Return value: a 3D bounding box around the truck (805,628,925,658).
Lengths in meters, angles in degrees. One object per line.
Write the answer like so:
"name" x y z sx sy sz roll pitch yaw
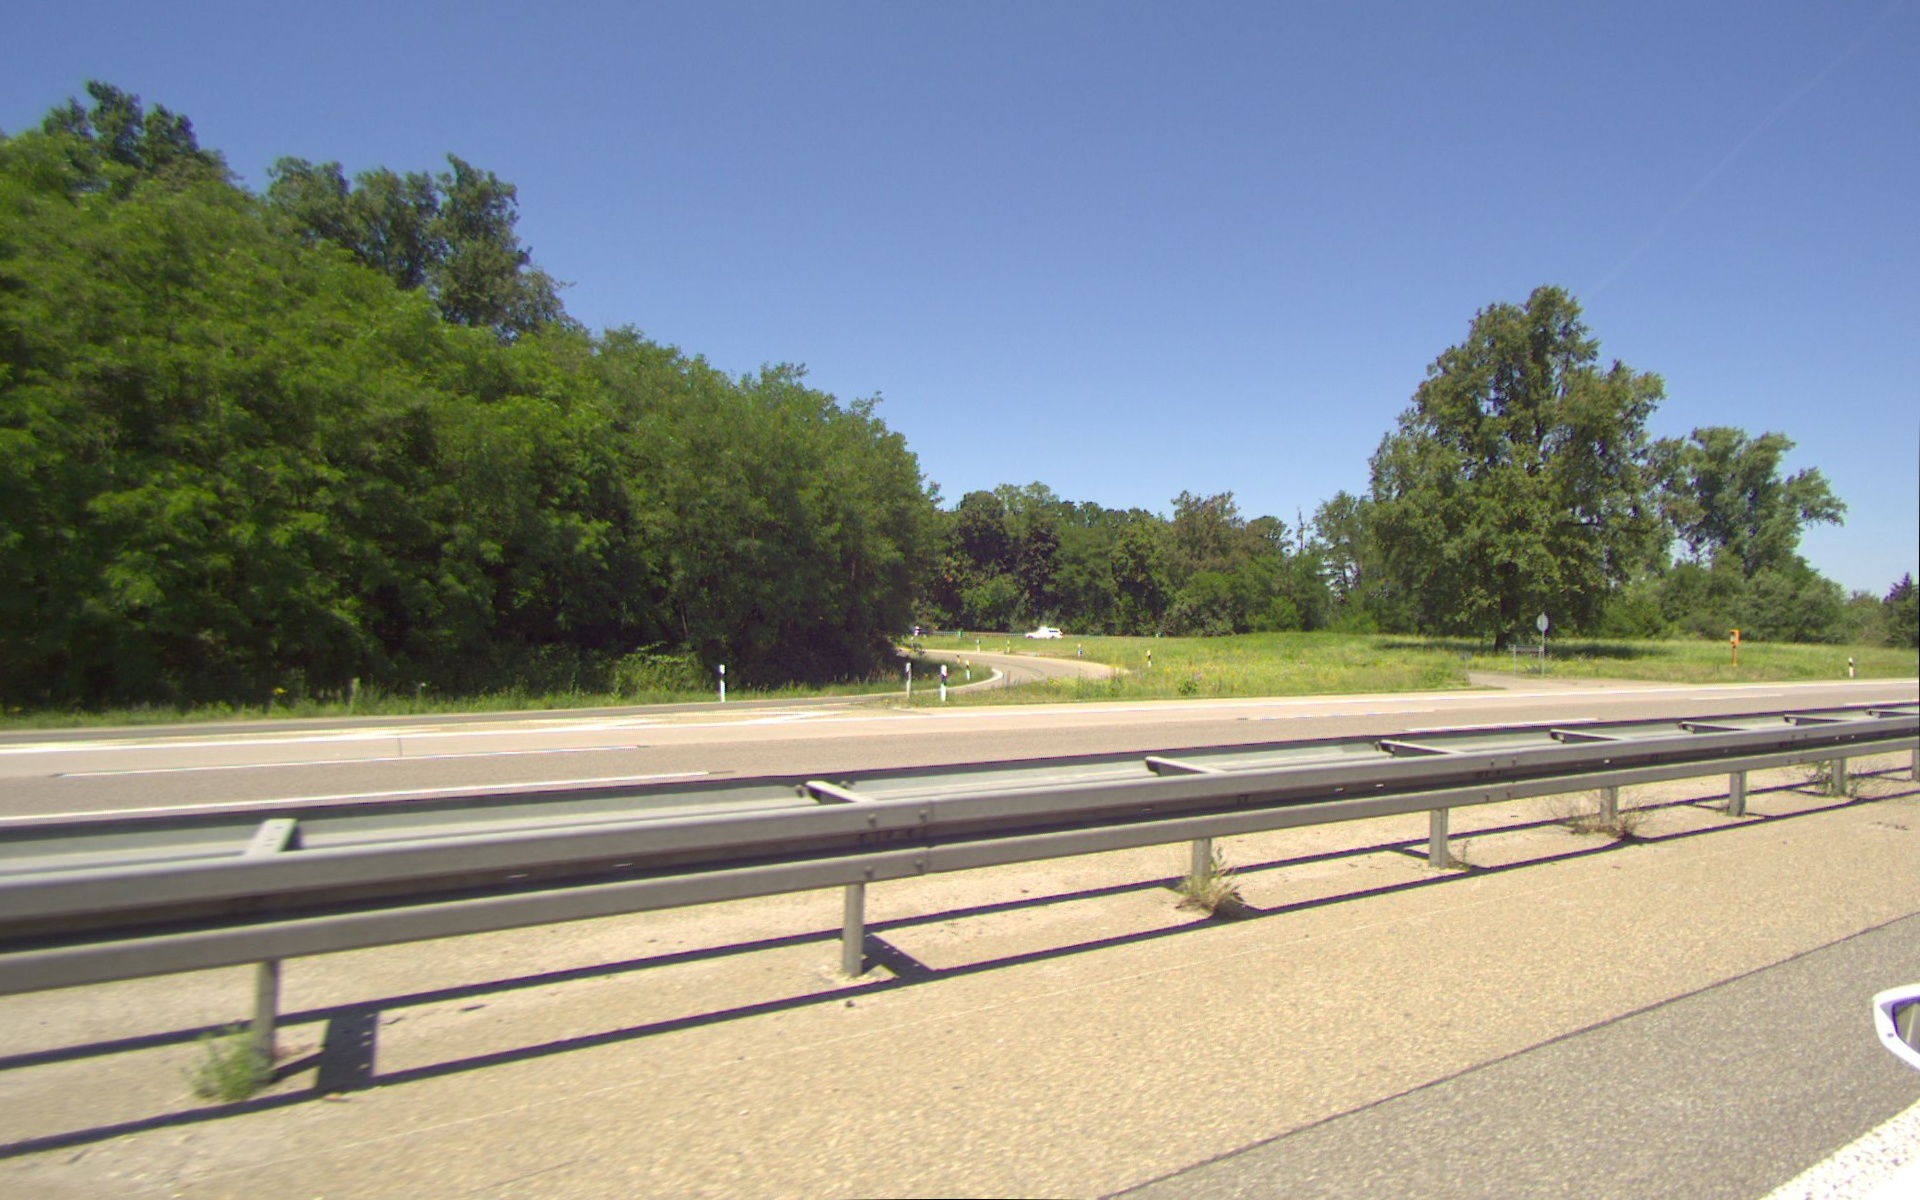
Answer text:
"truck" -11.618 5.240 122.989 14.510 3.326 2.703 2 0 -9

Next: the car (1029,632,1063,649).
"car" 10.487 4.913 121.905 3.919 1.840 1.788 2 0 10
